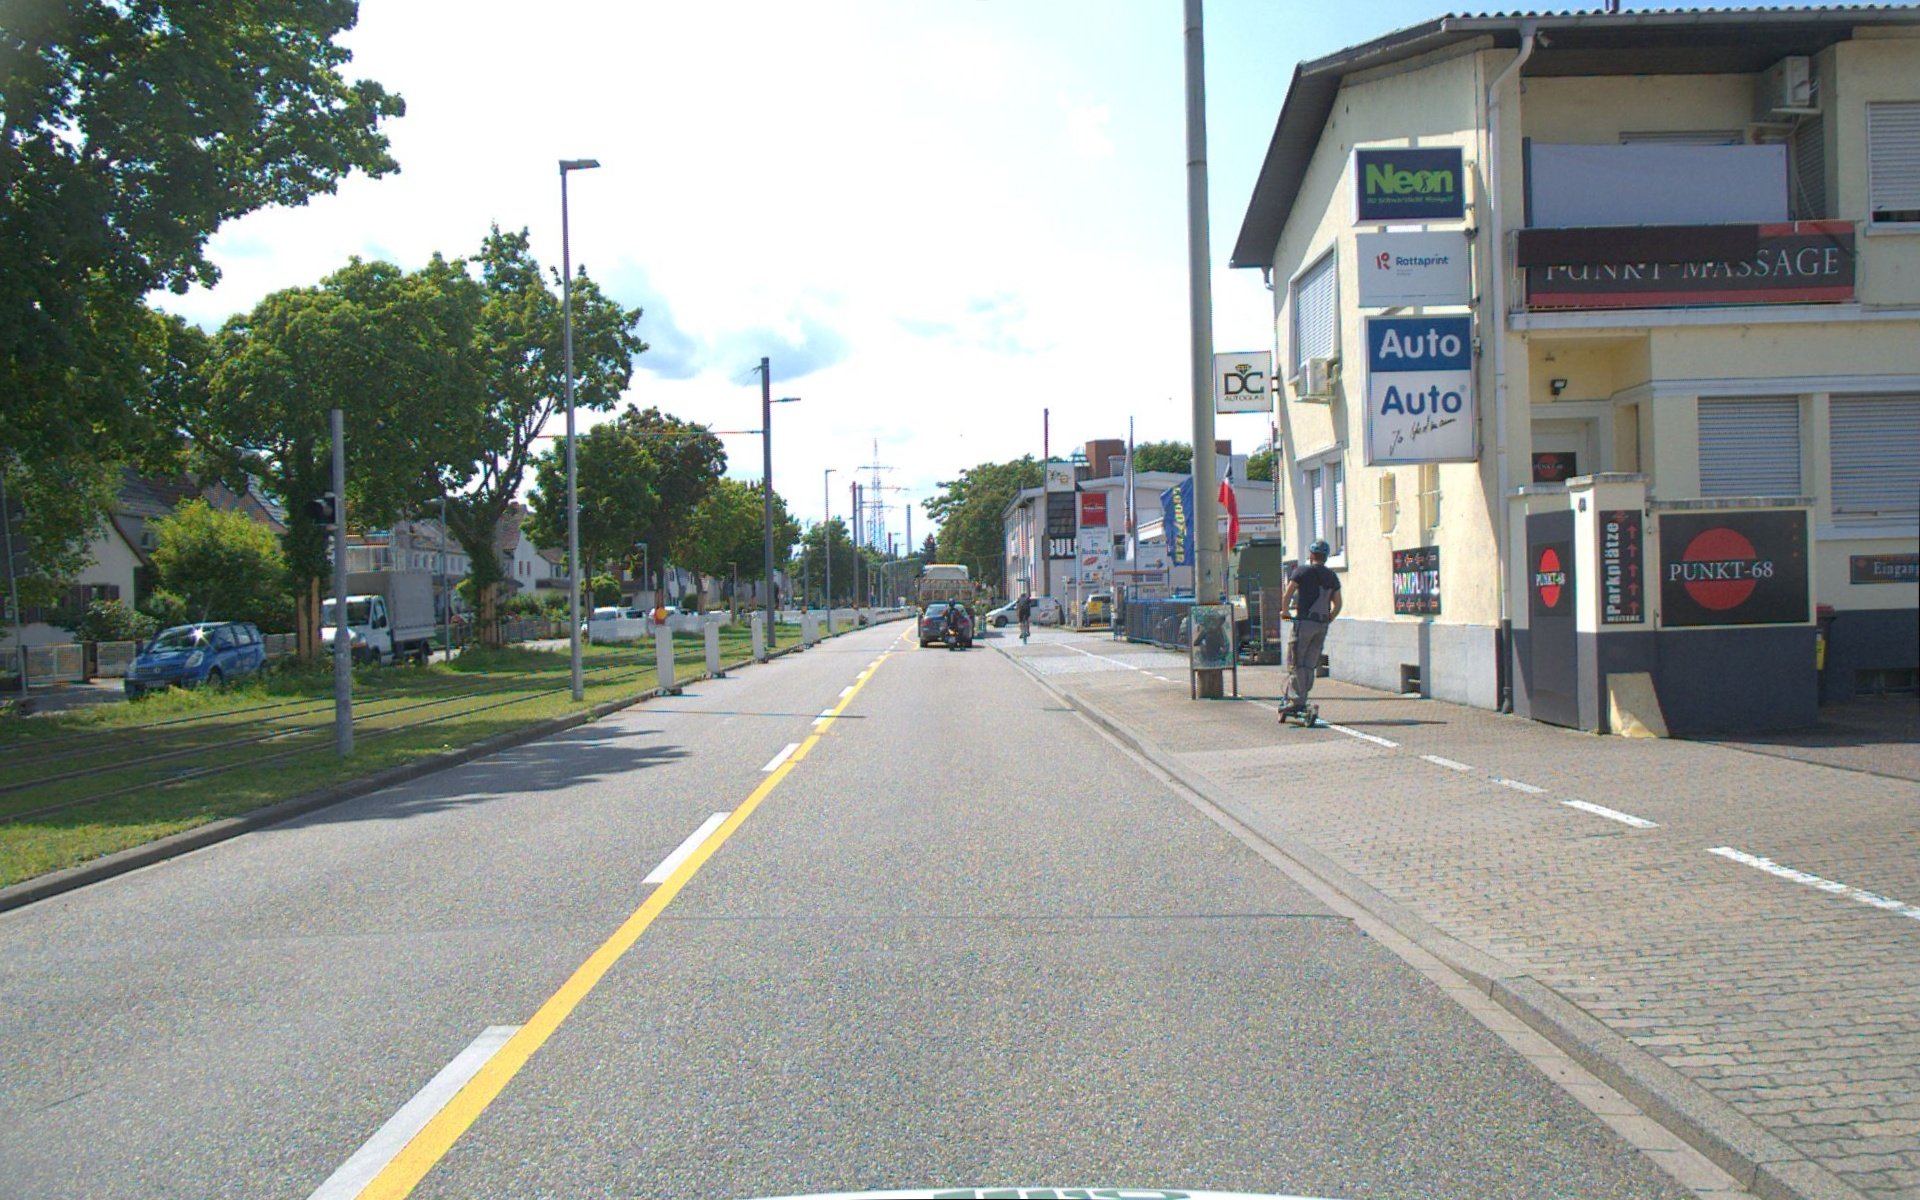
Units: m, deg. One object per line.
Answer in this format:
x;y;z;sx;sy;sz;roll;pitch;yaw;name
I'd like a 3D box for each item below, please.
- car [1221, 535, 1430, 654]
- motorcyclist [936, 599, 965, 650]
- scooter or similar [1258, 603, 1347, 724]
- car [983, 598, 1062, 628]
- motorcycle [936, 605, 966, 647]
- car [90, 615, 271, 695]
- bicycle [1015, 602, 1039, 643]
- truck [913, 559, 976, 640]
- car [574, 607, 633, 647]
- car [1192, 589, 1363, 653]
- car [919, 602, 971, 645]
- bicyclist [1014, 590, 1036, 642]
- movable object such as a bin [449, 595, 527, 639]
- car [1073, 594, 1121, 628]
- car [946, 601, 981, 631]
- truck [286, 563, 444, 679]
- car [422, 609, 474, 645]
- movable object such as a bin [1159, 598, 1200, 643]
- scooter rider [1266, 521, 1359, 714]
8.591;-0.121;39.202;4.443;2.618;2.151;-2;-1;1;car
-0.302;0.787;53.588;0.920;1.643;1.204;1;-1;-1;motorcyclist
3.687;0.667;17.909;0.529;1.216;1.610;-3;-1;-1;scooter or similar
3.597;0.765;95.772;4.250;1.579;1.946;-2;-1;-9;car
-0.308;0.837;53.769;0.920;1.343;2.644;1;-1;-1;motorcycle
-15.974;1.105;34.131;1.954;1.478;3.998;-2;-1;-3;car
2.316;0.773;57.435;0.679;1.385;2.418;-2;0;-1;bicycle
-0.662;-0.107;74.297;2.557;3.312;9.182;-2;1;0;truck
-17.046;1.292;79.196;1.953;1.780;3.999;-2;-1;-1;car
8.001;0.536;41.991;4.095;1.456;1.821;-2;-1;6;car
-0.532;0.806;58.239;1.784;1.449;3.999;-1;0;-1;car
2.248;0.558;57.434;0.657;1.774;0.813;-1;0;-1;bicyclist
-28.102;1.017;98.500;4.277;2.492;1.776;-2;0;-23;movable object such as a bin
7.040;0.586;85.151;1.920;1.677;3.997;-2;-1;-3;car
0.188;0.835;87.446;1.784;1.489;4.000;-1;0;0;car
-16.159;0.530;45.328;1.953;2.815;6.275;-4;0;-1;truck
-25.808;1.352;83.419;1.650;1.752;3.029;-2;-1;-1;car
7.386;0.690;55.683;1.230;1.469;0.824;-2;-1;0;movable object such as a bin
3.823;0.185;18.004;0.702;1.997;0.785;-5;0;0;scooter rider
